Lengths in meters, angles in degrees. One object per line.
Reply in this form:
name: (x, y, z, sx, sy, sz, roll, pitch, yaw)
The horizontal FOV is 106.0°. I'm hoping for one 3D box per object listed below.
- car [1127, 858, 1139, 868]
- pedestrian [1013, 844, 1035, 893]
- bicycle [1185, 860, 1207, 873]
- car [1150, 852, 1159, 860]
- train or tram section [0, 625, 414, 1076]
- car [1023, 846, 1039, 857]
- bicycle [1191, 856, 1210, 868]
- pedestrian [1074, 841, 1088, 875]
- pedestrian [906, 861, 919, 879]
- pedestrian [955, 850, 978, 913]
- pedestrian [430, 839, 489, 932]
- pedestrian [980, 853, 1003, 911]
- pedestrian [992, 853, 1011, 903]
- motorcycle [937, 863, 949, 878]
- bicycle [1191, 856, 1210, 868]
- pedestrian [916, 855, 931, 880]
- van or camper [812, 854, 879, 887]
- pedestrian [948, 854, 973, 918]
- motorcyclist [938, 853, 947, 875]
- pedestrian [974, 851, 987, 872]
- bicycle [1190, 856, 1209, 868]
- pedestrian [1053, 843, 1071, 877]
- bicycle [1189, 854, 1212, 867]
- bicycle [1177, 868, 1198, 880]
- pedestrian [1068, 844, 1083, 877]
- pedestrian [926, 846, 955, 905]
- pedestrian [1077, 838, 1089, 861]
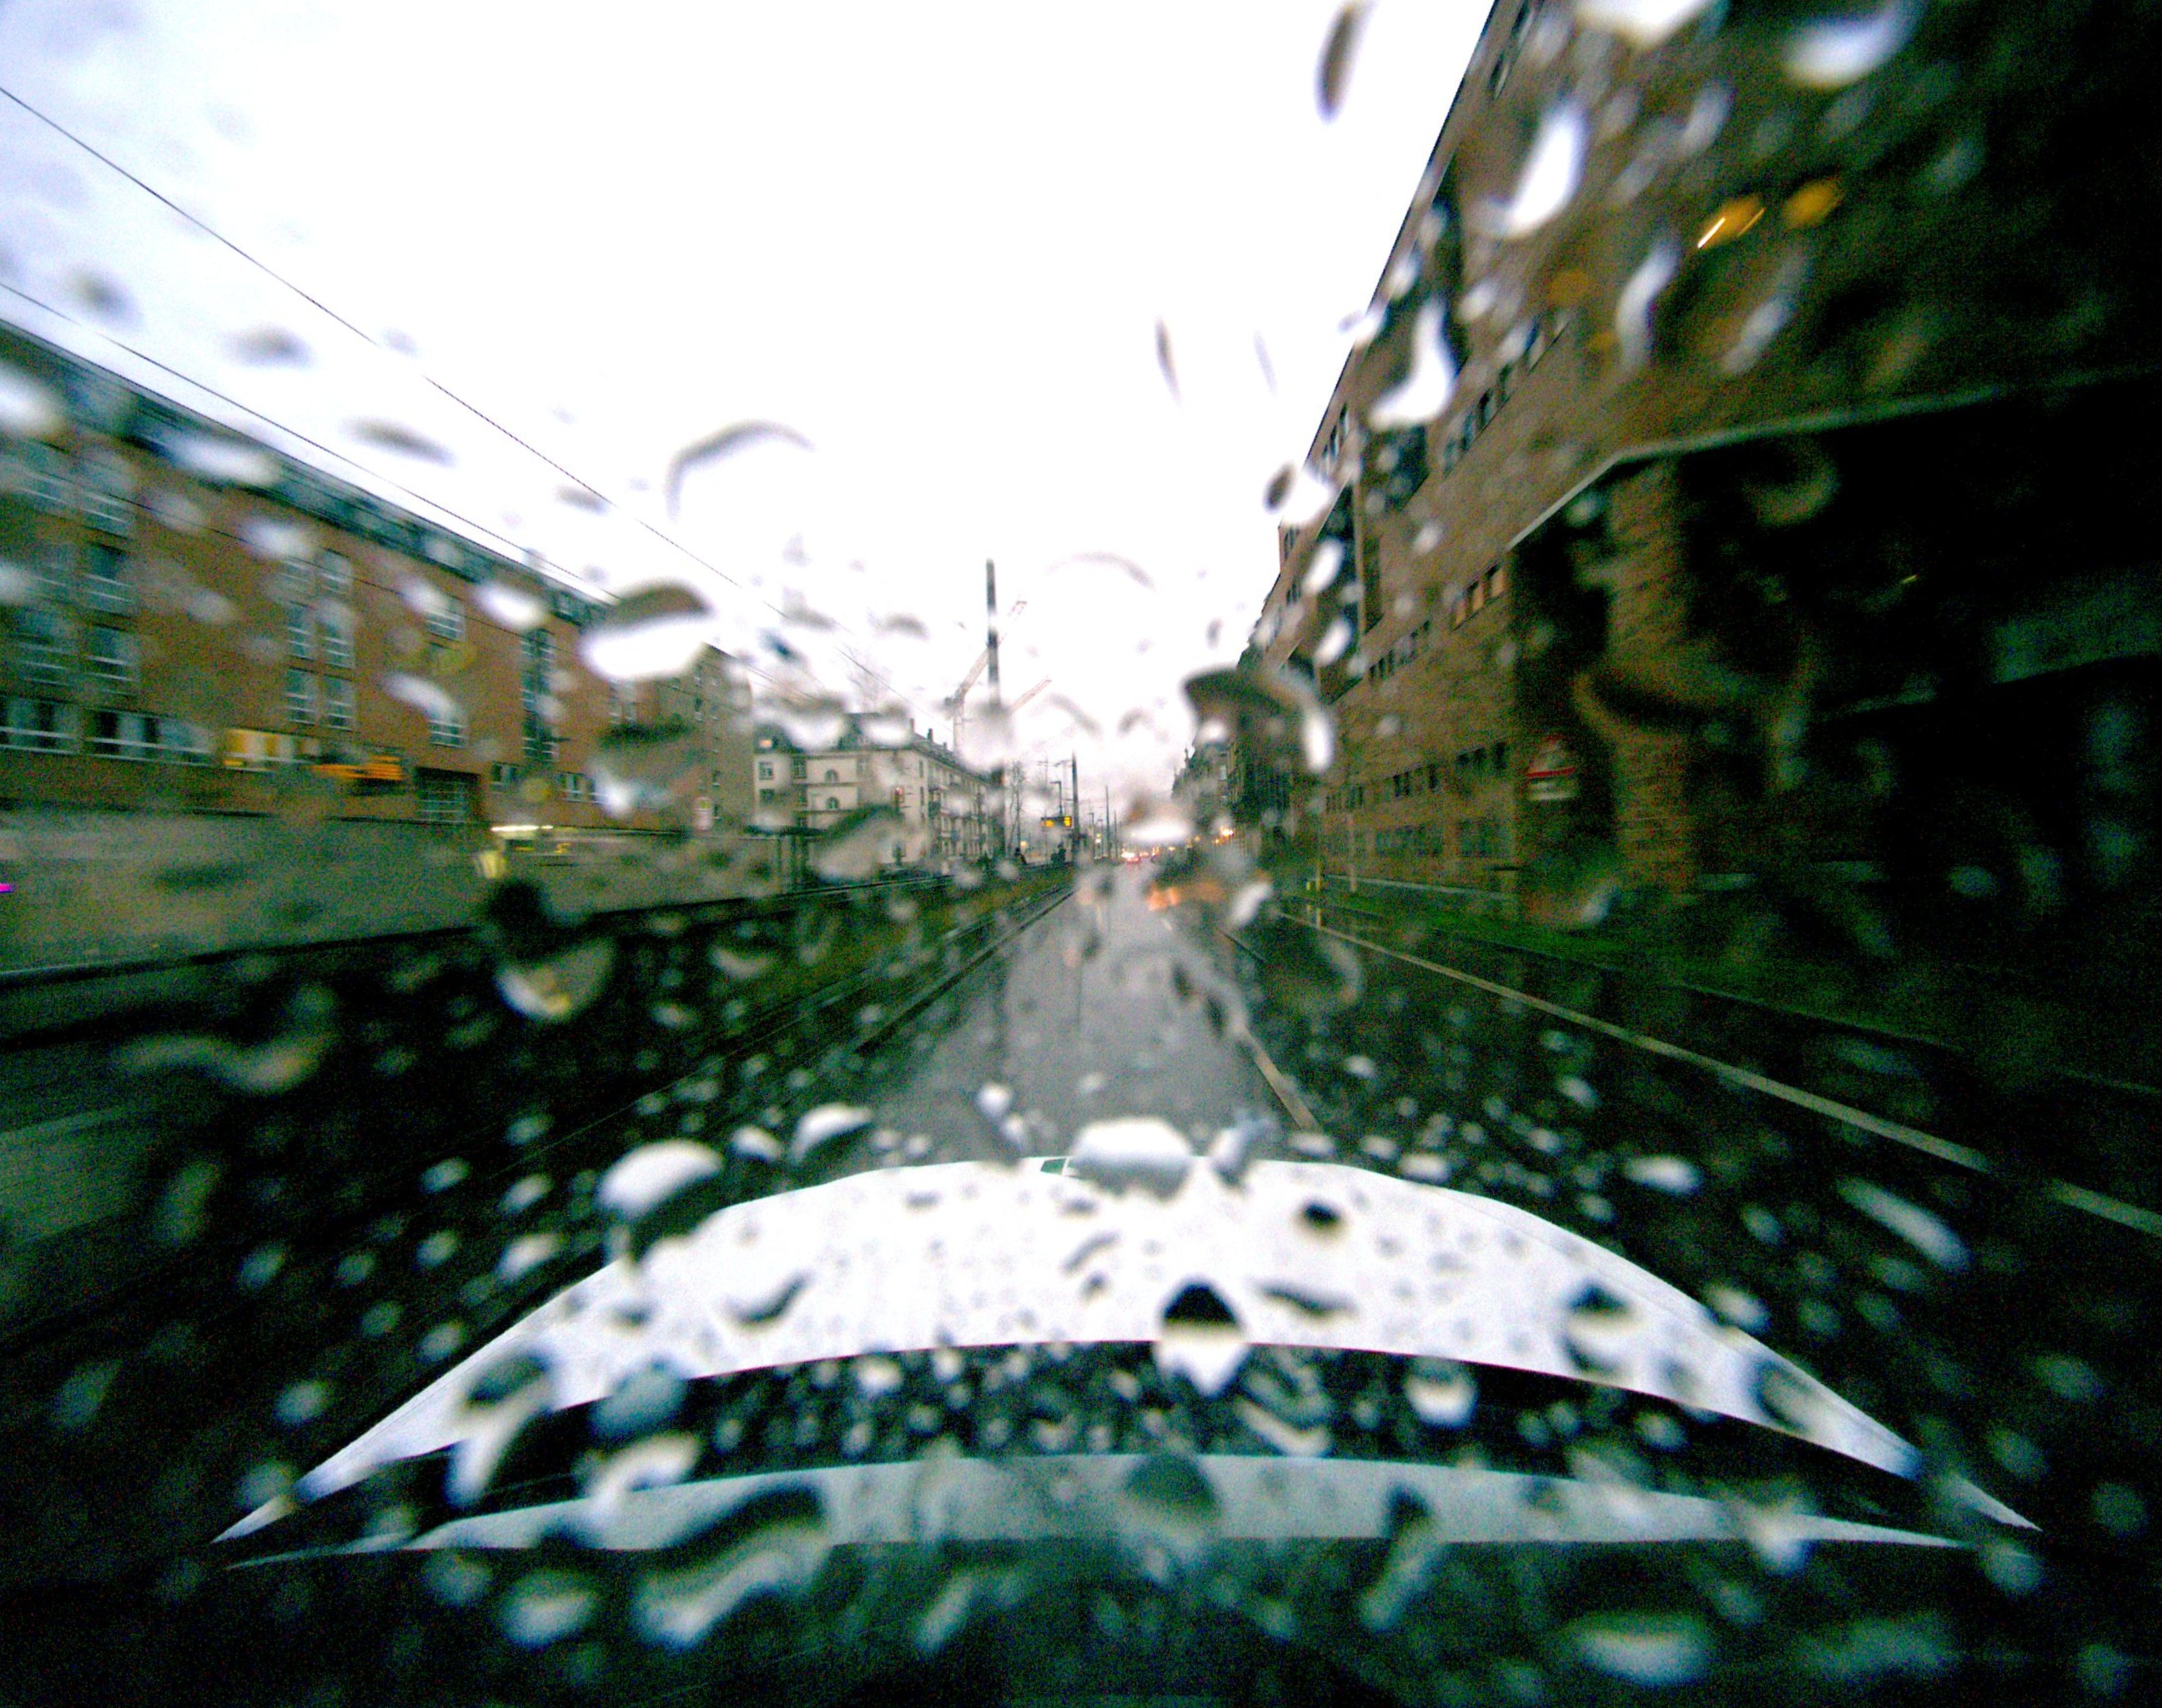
car: (8.467, 1.481, 133.538, 1.775, 1.467, 3.153, -2, 0, 6)
pedestrian: (-2.027, 0.498, 28.741, 0.647, 1.704, 0.565, -1, 0, -14)
bicycle: (11.164, 1.240, 78.806, 2.000, 1.095, 0.425, -5, 0, 2)
car: (16.674, 0.407, 184.735, 1.790, 1.604, 3.776, -3, 0, 6)
train or tram section: (-10.131, -0.021, 4.677, 2.886, 3.568, 11.048, -1, 0, 4)
car: (-6.467, -0.288, 105.607, 1.675, 1.354, 3.548, -1, 0, 3)
bicycle: (11.273, 0.771, 76.738, 1.723, 1.055, 0.371, -3, 0, 2)
pedestrian: (0.010, 0.251, 52.122, 0.806, 2.110, 0.805, -2, 0, 4)
pedestrian: (-10.350, 0.979, 49.971, 0.611, 1.103, 0.585, 0, 0, -38)
pedestrian: (-3.089, 0.741, 22.049, 0.479, 1.678, 0.563, -2, -1, 1)
pedestrian: (-13.121, 0.643, 17.226, 0.796, 1.886, 0.876, -1, -1, -26)
pedestrian: (-2.503, 0.772, 22.831, 0.538, 1.590, 0.563, -2, -1, 1)
pedestrian: (-2.742, 0.820, 28.072, 0.538, 1.692, 0.644, -2, -1, 1)
motorcycle: (-9.388, 1.119, 55.298, 0.511, 1.008, 1.806, -1, 0, 0)
bicycle: (11.401, 0.780, 77.685, 1.723, 1.055, 0.371, -3, 0, 2)
pedestrian: (-9.717, 0.850, 50.110, 0.639, 1.524, 0.748, 0, 0, -38)
van or camper: (-20.317, 1.377, 70.653, 2.755, 2.682, 6.775, -1, 0, 11)
pedestrian: (-3.035, 0.801, 20.524, 0.479, 1.590, 0.563, -2, -1, 1)
motorcyclist: (-9.387, 0.699, 55.308, 0.497, 1.496, 0.556, -1, 0, -1)
pedestrian: (-8.878, 0.658, 71.894, 0.802, 1.780, 0.813, 0, 0, -38)
bicycle: (11.246, 0.775, 77.242, 1.723, 1.055, 0.371, -3, 0, 2)
pedestrian: (-0.991, 0.317, 42.141, 0.777, 1.704, 0.769, -1, 0, -15)
bicycle: (11.683, 0.631, 79.934, 2.135, 1.055, 0.425, -5, 1, 2)
bicycle: (11.042, 2.091, 84.409, 2.096, 1.052, 0.475, -3, 0, -23)
pedestrian: (-0.321, 0.398, 48.629, 0.806, 1.947, 0.805, -2, 0, 4)
pedestrian: (-3.840, 0.586, 22.298, 0.616, 1.590, 0.622, -2, -1, 1)
pedestrian: (0.139, -0.315, 54.377, 0.679, 1.516, 0.617, -1, 0, -9)
